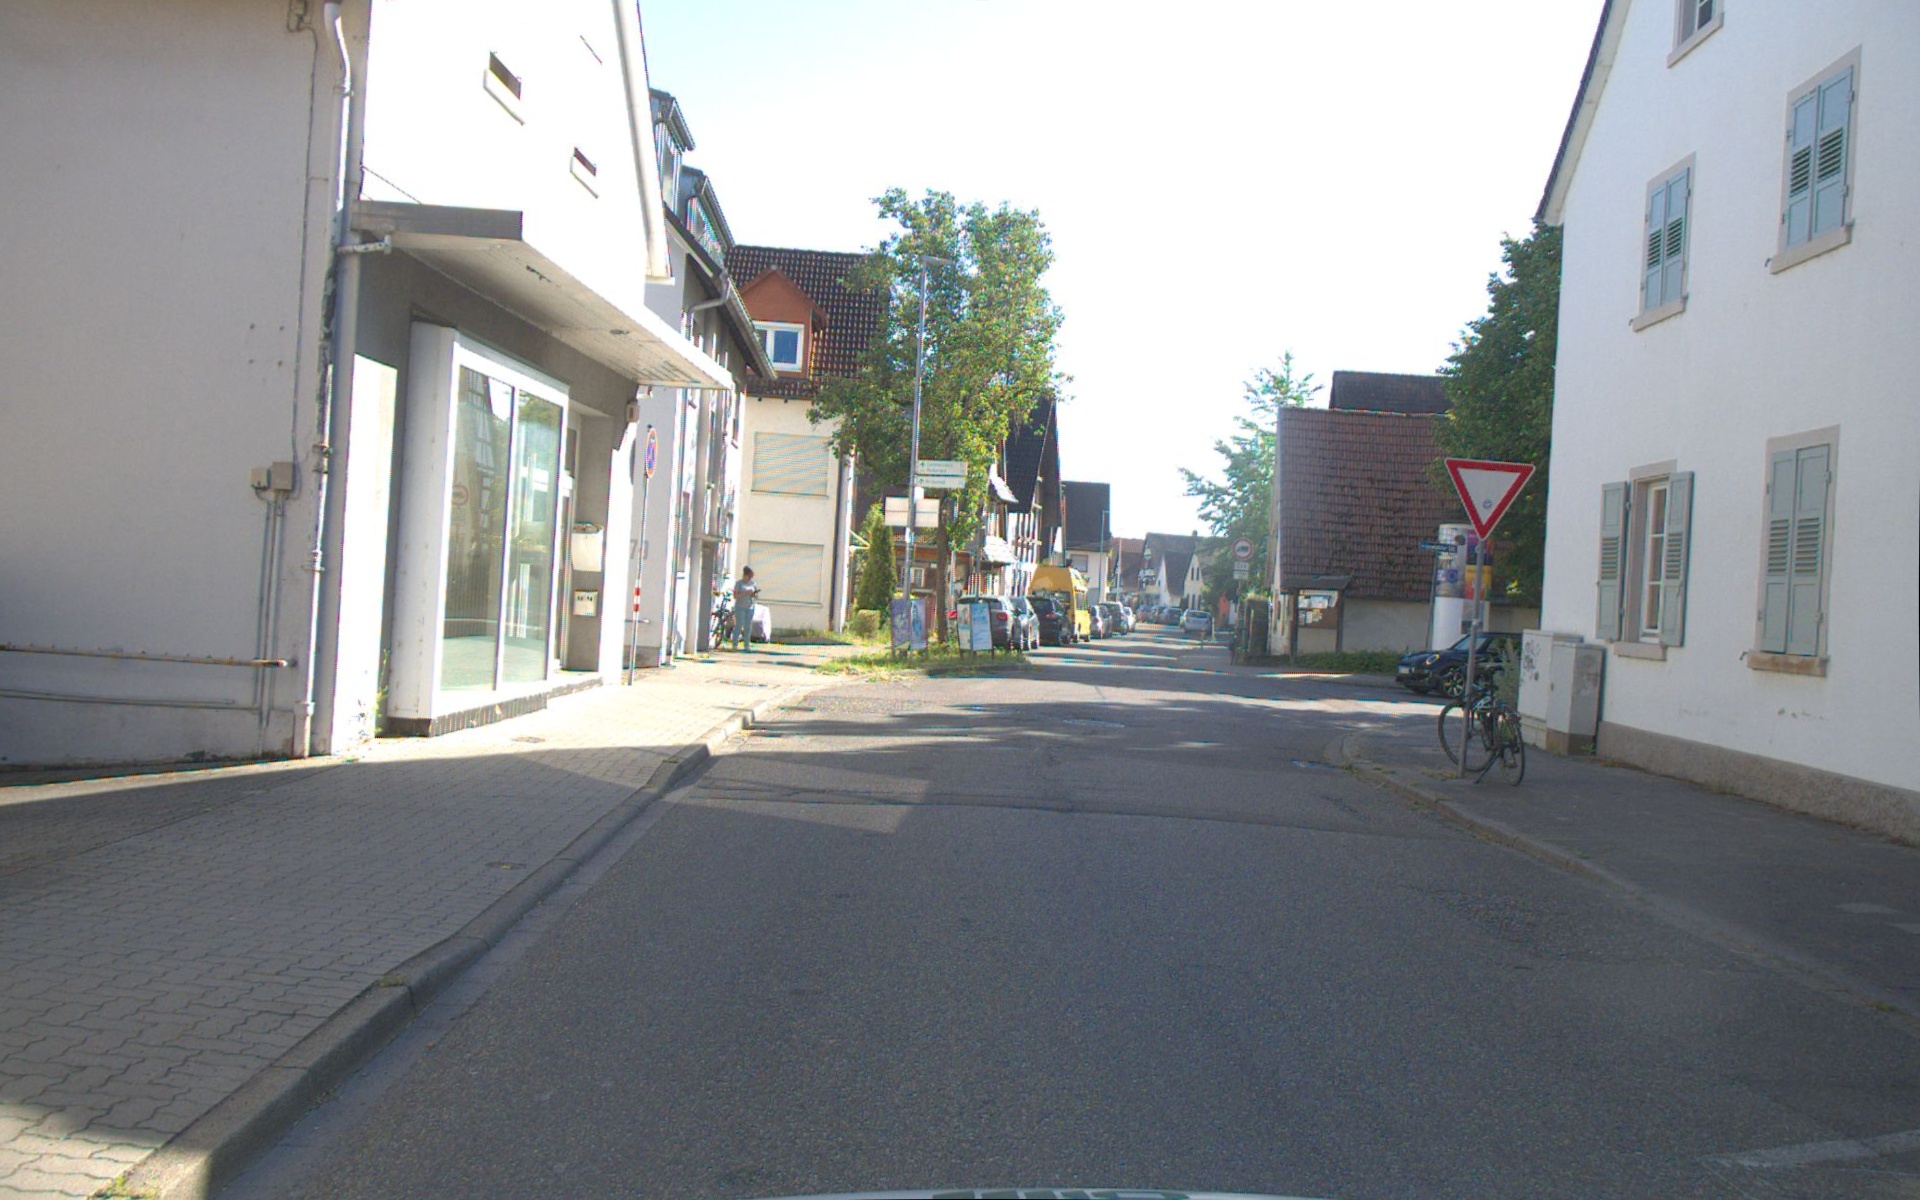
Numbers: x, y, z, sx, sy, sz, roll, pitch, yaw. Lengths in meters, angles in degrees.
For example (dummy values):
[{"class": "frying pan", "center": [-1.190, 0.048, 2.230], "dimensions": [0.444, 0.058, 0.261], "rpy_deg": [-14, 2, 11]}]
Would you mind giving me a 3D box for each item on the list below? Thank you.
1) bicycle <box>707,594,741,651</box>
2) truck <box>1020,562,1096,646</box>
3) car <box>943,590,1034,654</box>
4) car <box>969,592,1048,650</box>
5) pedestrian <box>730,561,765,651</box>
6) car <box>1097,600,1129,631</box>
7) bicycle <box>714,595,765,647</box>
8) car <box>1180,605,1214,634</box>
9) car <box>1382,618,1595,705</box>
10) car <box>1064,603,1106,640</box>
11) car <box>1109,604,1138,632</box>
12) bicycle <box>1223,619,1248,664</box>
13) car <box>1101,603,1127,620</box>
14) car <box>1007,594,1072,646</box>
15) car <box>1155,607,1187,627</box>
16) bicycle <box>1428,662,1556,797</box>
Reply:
[{"class": "bicycle", "center": [-4.623, 0.449, 32.446], "dimensions": [0.414, 1.070, 1.381], "rpy_deg": [3, -1, 0]}, {"class": "truck", "center": [3.802, 0.178, 62.991], "dimensions": [2.220, 2.918, 5.787], "rpy_deg": [3, 0, 9]}, {"class": "car", "center": [0.823, 0.591, 44.417], "dimensions": [1.828, 1.532, 4.110], "rpy_deg": [3, 0, 9]}, {"class": "car", "center": [1.469, 0.628, 48.765], "dimensions": [1.768, 1.532, 4.110], "rpy_deg": [3, 0, 9]}, {"class": "pedestrian", "center": [-4.187, 0.122, 32.610], "dimensions": [0.473, 1.722, 0.557], "rpy_deg": [4, -2, 4]}, {"class": "car", "center": [7.882, 0.793, 85.086], "dimensions": [1.555, 1.467, 3.617], "rpy_deg": [4, 0, 6]}, {"class": "bicycle", "center": [-4.766, 0.465, 35.861], "dimensions": [0.566, 1.070, 2.037], "rpy_deg": [3, -1, 7]}, {"class": "car", "center": [15.549, 1.300, 108.779], "dimensions": [1.932, 1.743, 3.997], "rpy_deg": [4, 0, 6]}, {"class": "car", "center": [11.188, 1.290, 35.133], "dimensions": [3.910, 1.503, 1.664], "rpy_deg": [4, 0, -5]}, {"class": "car", "center": [5.465, 0.925, 71.991], "dimensions": [1.611, 1.457, 3.617], "rpy_deg": [4, 0, 6]}, {"class": "car", "center": [9.602, 1.053, 96.892], "dimensions": [1.555, 1.467, 3.617], "rpy_deg": [4, 0, 6]}, {"class": "bicycle", "center": [7.577, 1.133, 45.475], "dimensions": [0.424, 1.197, 1.830], "rpy_deg": [3, 0, 16]}, {"class": "car", "center": [16.502, 1.206, 177.525], "dimensions": [1.935, 1.610, 3.990], "rpy_deg": [4, 0, -5]}, {"class": "car", "center": [2.802, 0.696, 57.607], "dimensions": [1.768, 1.650, 3.883], "rpy_deg": [3, 0, 9]}, {"class": "car", "center": [19.289, 1.564, 151.395], "dimensions": [1.935, 1.610, 3.990], "rpy_deg": [4, 0, -5]}, {"class": "bicycle", "center": [4.968, 1.179, 15.546], "dimensions": [0.426, 1.098, 1.888], "rpy_deg": [2, 0, -4]}]
